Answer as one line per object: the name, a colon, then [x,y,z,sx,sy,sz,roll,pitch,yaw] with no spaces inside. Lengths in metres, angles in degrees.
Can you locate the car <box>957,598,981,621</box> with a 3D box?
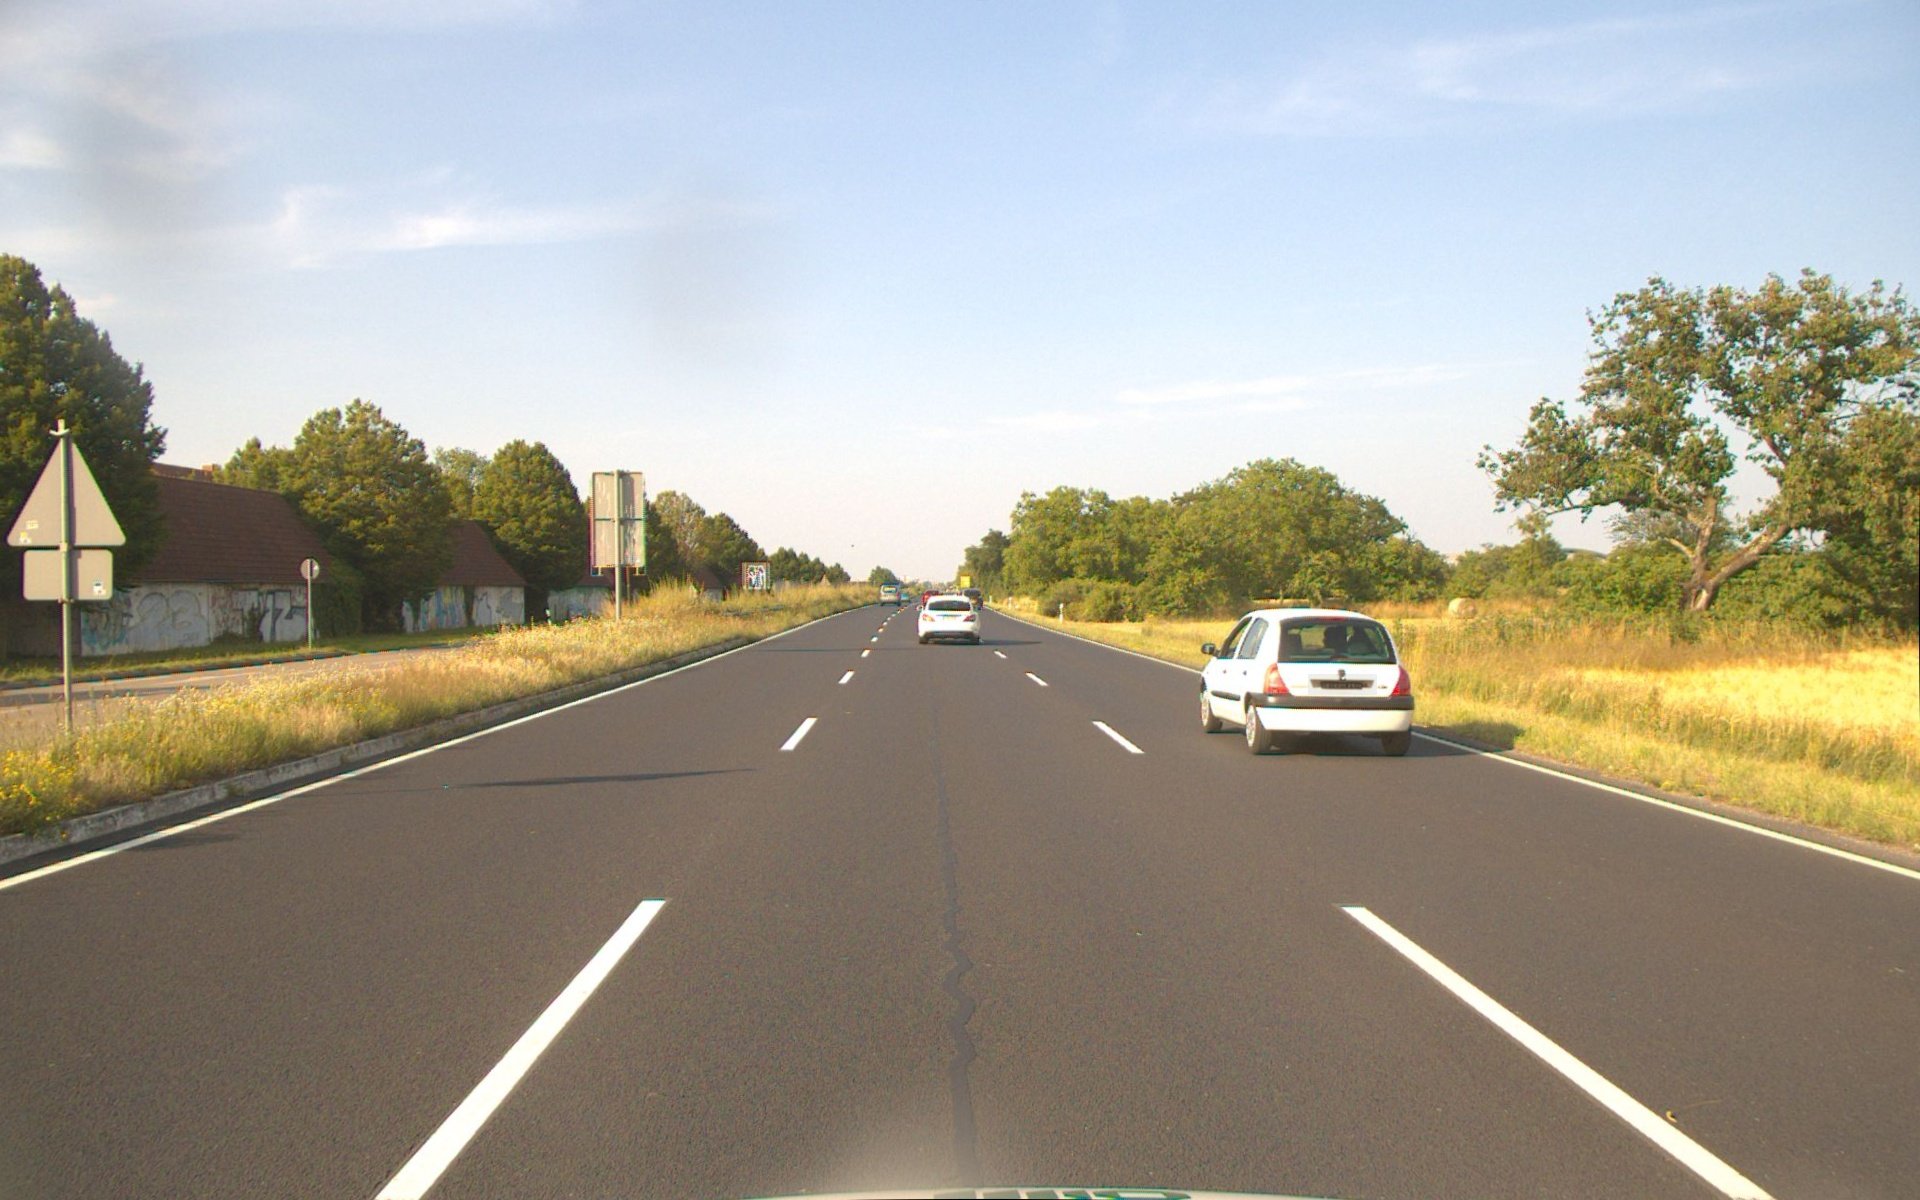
car: [0.679,0.766,127.948,1.791,1.758,3.999,1,-1,-1]

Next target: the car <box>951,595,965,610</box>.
car: [-0.289,0.354,212.993,1.766,1.937,3.559,1,-1,0]

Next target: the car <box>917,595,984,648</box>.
car: [-0.295,0.650,50.702,1.953,1.543,3.999,1,-1,-1]

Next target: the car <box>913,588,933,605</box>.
car: [-3.391,-0.279,151.475,1.775,1.461,3.857,1,-1,-2]

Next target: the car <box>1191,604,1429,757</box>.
car: [3.554,0.774,17.463,1.584,1.411,3.950,1,-1,-1]

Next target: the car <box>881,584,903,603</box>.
car: [-6.263,-0.579,152.168,1.722,1.646,4.000,1,-1,1]
